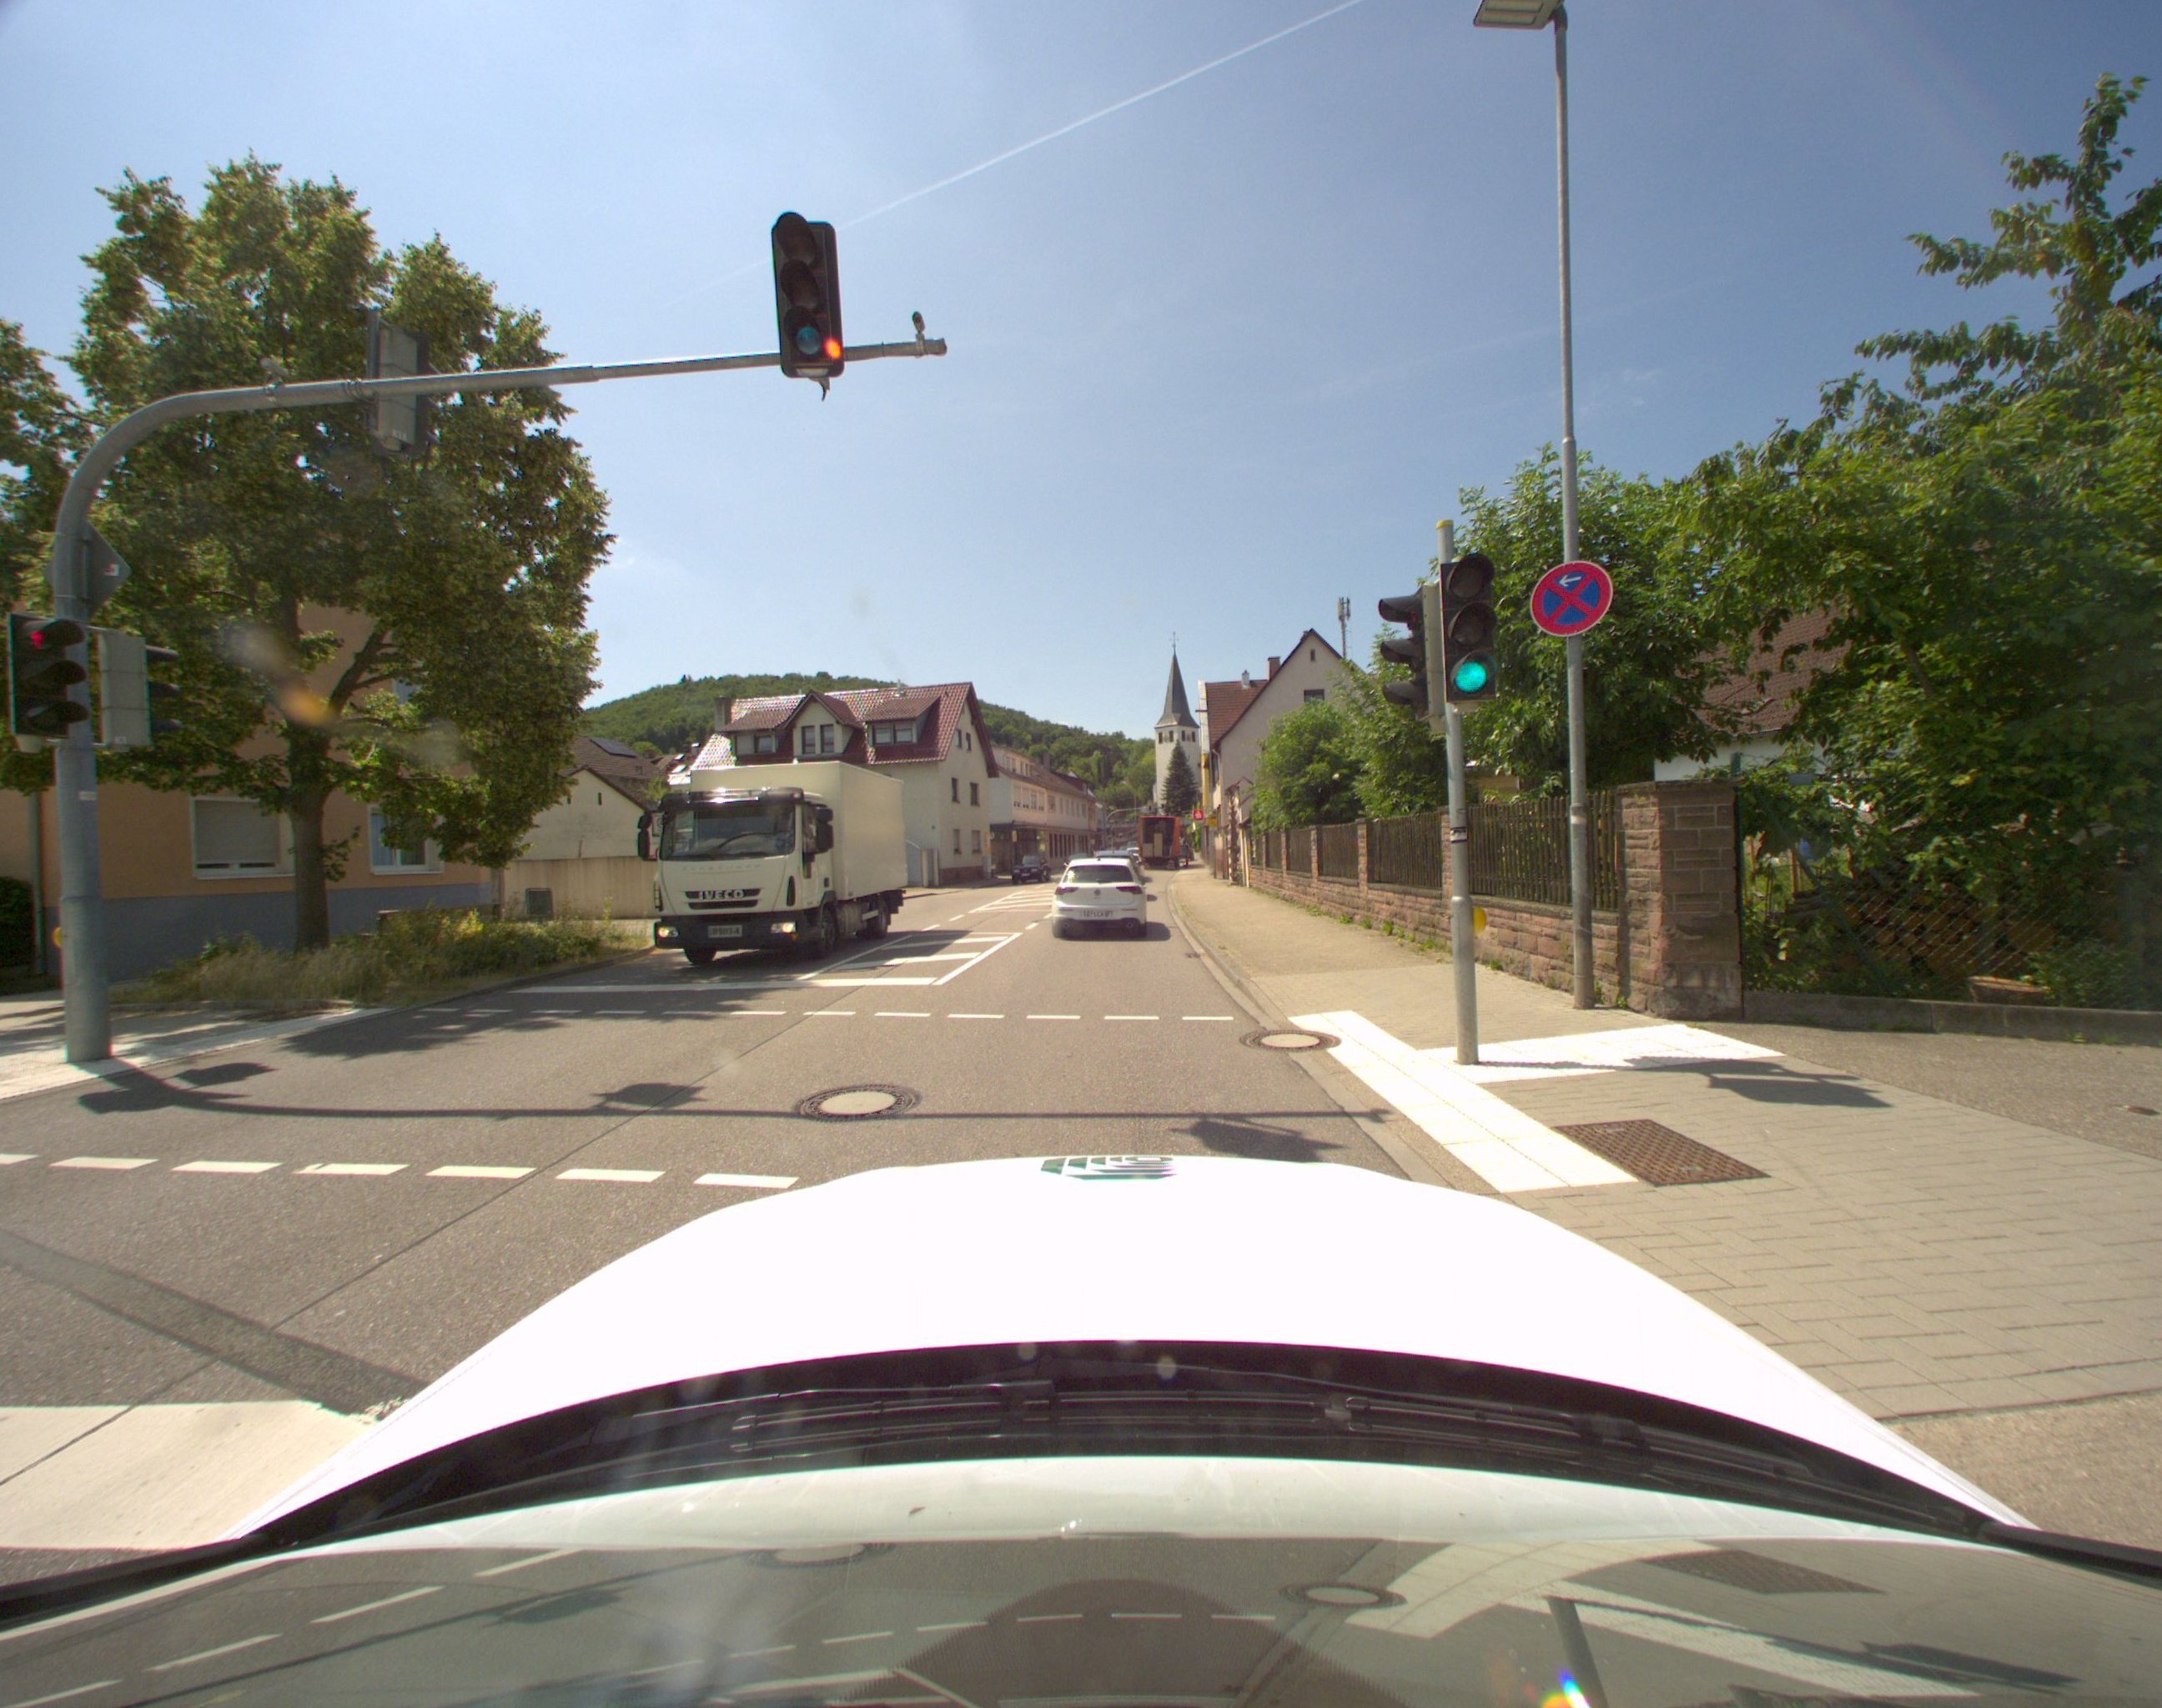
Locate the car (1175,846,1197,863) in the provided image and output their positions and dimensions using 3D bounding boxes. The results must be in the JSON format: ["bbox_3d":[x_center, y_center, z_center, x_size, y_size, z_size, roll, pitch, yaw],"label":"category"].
[{"bbox_3d":[10.138,0.028,78.712,1.807,1.519,4.004,-3,-1,4],"label":"car"}]

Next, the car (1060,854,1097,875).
[{"bbox_3d":[-0.134,0.762,61.111,1.850,1.442,4.231,-3,-1,12],"label":"car"}]

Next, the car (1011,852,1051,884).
[{"bbox_3d":[-2.772,0.731,45.818,1.731,1.651,3.673,-2,0,4],"label":"car"}]

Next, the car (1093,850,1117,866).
[{"bbox_3d":[2.428,0.397,81.694,1.785,1.508,4.143,-3,-1,8],"label":"car"}]

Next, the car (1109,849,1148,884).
[{"bbox_3d":[2.498,0.630,42.457,1.807,1.628,4.004,-3,-1,4],"label":"car"}]

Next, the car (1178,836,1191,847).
[{"bbox_3d":[16.591,-1.956,130.738,1.807,1.519,4.004,-3,-1,4],"label":"car"}]

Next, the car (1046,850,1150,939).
[{"bbox_3d":[0.432,0.724,16.280,1.807,1.519,4.004,-1,0,4],"label":"car"}]

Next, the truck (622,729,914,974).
[{"bbox_3d":[-4.892,-0.008,14.137,2.493,3.235,6.041,-2,-1,1],"label":"truck"}]

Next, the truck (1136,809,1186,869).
[{"bbox_3d":[6.283,-1.049,63.704,3.350,4.170,9.535,-3,-1,6],"label":"truck"}]

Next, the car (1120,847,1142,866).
[{"bbox_3d":[4.434,0.208,71.647,1.807,1.519,4.004,-3,-1,4],"label":"car"}]

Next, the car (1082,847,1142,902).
[{"bbox_3d":[1.108,0.664,27.711,1.807,1.628,4.004,-3,-1,4],"label":"car"}]
